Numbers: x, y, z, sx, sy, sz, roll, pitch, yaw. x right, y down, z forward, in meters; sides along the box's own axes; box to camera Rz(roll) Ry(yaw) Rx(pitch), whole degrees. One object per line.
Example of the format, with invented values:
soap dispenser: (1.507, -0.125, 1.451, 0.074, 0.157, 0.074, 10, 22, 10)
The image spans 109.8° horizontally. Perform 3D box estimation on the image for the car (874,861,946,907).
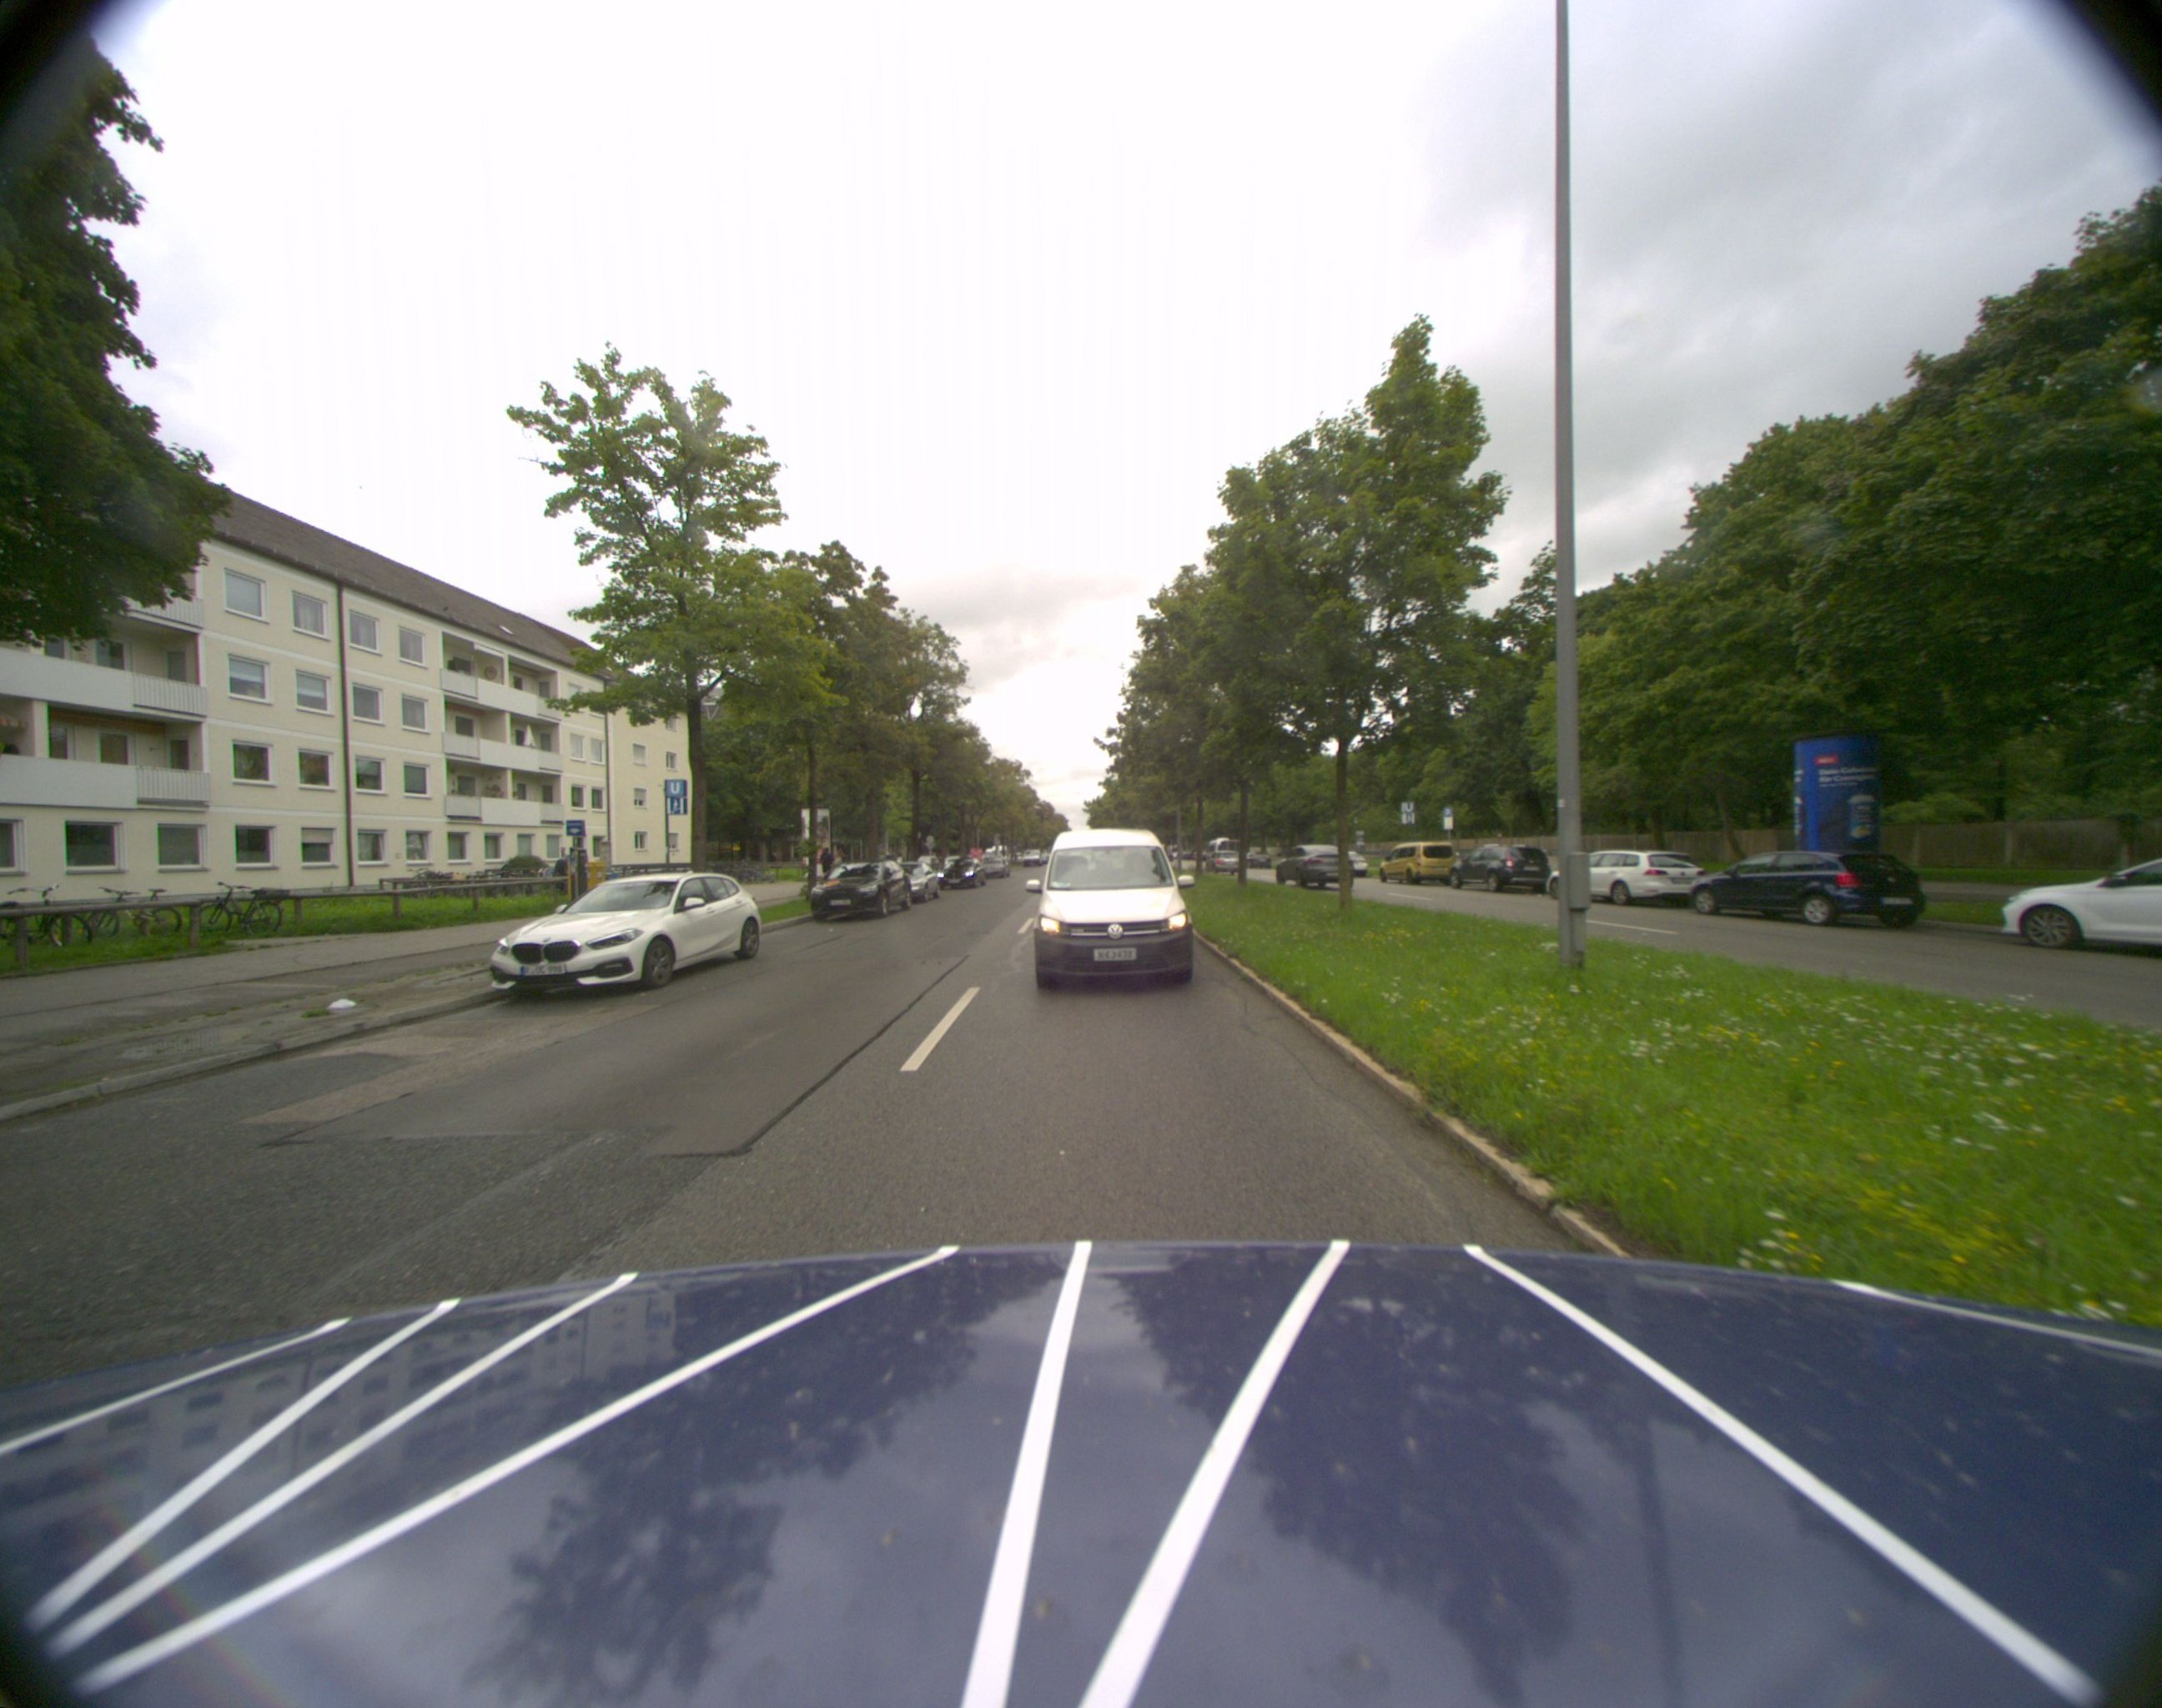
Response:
car: (-5.902, 0.989, 26.632, 1.617, 1.372, 3.926, -2, 1, -1)

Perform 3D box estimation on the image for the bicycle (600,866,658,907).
bicycle: (-14.402, 1.007, 24.276, 0.545, 1.182, 2.076, -1, 1, 1)

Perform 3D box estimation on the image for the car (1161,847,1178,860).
car: (12.585, -0.092, 108.576, 1.866, 1.660, 4.500, 1, 1, 0)

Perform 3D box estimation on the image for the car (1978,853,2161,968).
car: (14.842, 0.758, 9.663, 1.826, 1.468, 4.259, 1, 1, 1)

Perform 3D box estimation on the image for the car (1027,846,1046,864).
car: (-5.195, 0.098, 88.933, 1.827, 1.939, 4.300, -2, 1, 1)

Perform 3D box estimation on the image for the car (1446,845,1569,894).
car: (14.998, 0.493, 26.987, 2.007, 1.607, 4.040, 0, 1, -2)

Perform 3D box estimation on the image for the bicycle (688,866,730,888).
bicycle: (-16.208, 1.003, 33.120, 1.599, 0.910, 0.498, 0, 1, -4)

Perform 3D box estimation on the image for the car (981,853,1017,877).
car: (-5.470, 0.703, 51.003, 1.827, 1.460, 4.300, -2, 1, 1)

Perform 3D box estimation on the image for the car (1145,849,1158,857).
car: (12.576, -0.206, 136.168, 1.866, 1.448, 4.500, 1, 1, 0)

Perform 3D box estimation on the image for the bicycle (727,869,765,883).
bicycle: (-16.141, 1.058, 36.643, 1.599, 0.634, 0.498, 1, 1, -4)

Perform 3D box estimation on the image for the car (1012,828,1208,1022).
car: (0.289, 0.654, 9.499, 1.772, 1.742, 4.545, -3, 1, 0)

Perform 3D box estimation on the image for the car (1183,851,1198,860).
car: (18.309, 0.207, 127.369, 1.717, 1.401, 4.040, 0, 1, -2)

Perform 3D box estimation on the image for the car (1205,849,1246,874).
car: (8.521, 0.400, 44.960, 1.722, 1.374, 3.767, 1, 1, 1)

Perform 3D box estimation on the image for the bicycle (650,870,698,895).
bicycle: (-16.294, 1.135, 30.457, 1.599, 0.910, 0.498, -2, 1, -4)

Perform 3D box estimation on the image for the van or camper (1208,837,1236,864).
van or camper: (15.271, -0.370, 82.423, 1.999, 2.791, 4.930, 0, 1, -2)

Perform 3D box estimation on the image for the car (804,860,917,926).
car: (-5.877, 0.979, 20.815, 1.826, 1.502, 4.157, -2, 1, 0)

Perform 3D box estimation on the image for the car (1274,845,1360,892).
car: (8.731, 0.496, 28.515, 1.826, 1.580, 4.501, -1, 0, 1)

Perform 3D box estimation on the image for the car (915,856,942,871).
car: (-15.614, 0.962, 78.009, 1.827, 1.460, 4.300, -2, 1, 1)

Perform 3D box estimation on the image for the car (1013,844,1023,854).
car: (-15.545, -1.238, 187.627, 1.999, 2.440, 4.999, -1, 1, -1)

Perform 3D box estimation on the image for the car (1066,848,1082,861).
car: (-0.888, 0.094, 98.850, 1.984, 1.591, 4.402, 1, 1, 1)

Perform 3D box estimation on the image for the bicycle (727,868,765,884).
bicycle: (-16.443, 1.090, 37.317, 1.599, 0.691, 0.498, -2, 1, -4)

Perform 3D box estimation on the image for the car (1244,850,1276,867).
car: (15.233, 0.366, 64.865, 1.717, 1.401, 4.040, 0, 1, -2)

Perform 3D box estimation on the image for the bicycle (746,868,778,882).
bicycle: (-15.931, 1.046, 37.974, 1.392, 0.709, 0.498, 1, 1, -4)

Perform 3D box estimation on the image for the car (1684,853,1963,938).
car: (14.653, 0.729, 15.350, 1.826, 1.438, 3.787, 1, 1, -2)

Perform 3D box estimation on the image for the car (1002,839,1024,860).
car: (-8.327, -0.595, 93.539, 1.998, 2.441, 4.999, -2, 1, 1)

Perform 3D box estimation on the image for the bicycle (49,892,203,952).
bicycle: (-18.909, 1.343, 15.079, 2.032, 1.061, 0.663, -2, 1, -4)

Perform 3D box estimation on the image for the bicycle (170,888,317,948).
bicycle: (-16.575, 1.251, 15.077, 2.032, 1.061, 0.663, -2, 1, -4)

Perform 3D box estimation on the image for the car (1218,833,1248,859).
car: (15.472, -0.783, 77.515, 1.999, 2.576, 4.499, 0, 1, -2)

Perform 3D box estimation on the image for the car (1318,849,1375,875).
car: (15.155, 0.409, 43.587, 1.717, 1.434, 4.040, 0, 1, -2)

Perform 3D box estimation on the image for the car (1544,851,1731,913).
car: (14.860, 0.672, 20.629, 1.826, 1.461, 4.300, 0, 1, -2)

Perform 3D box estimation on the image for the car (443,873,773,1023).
car: (-6.182, 1.117, 10.681, 1.826, 1.428, 4.287, -3, 1, 1)

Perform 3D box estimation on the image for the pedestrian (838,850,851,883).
pedestrian: (-11.650, 0.610, 37.402, 0.560, 1.595, 0.519, -2, 1, -19)

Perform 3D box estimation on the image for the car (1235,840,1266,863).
car: (15.493, -0.269, 69.630, 1.998, 2.002, 3.999, -1, 1, 0)

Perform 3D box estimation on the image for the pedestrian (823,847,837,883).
pedestrian: (-12.291, 0.531, 37.213, 0.560, 1.745, 0.656, -2, 1, -19)

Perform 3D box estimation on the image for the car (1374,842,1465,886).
car: (14.680, 0.385, 33.264, 1.862, 1.761, 4.533, 0, 1, -2)

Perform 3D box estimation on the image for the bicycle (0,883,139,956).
bicycle: (-16.423, 1.035, 12.026, 2.032, 1.061, 0.663, -2, 1, -4)

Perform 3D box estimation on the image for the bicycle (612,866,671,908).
bicycle: (-13.503, 0.987, 23.409, 0.545, 1.182, 2.076, -1, 1, 1)

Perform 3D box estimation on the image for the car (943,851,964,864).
car: (-15.494, 0.413, 92.458, 1.827, 1.460, 4.300, -1, 1, 1)

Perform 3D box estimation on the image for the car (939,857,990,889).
car: (-5.582, 0.885, 36.981, 1.827, 1.372, 4.299, -2, 1, -1)
